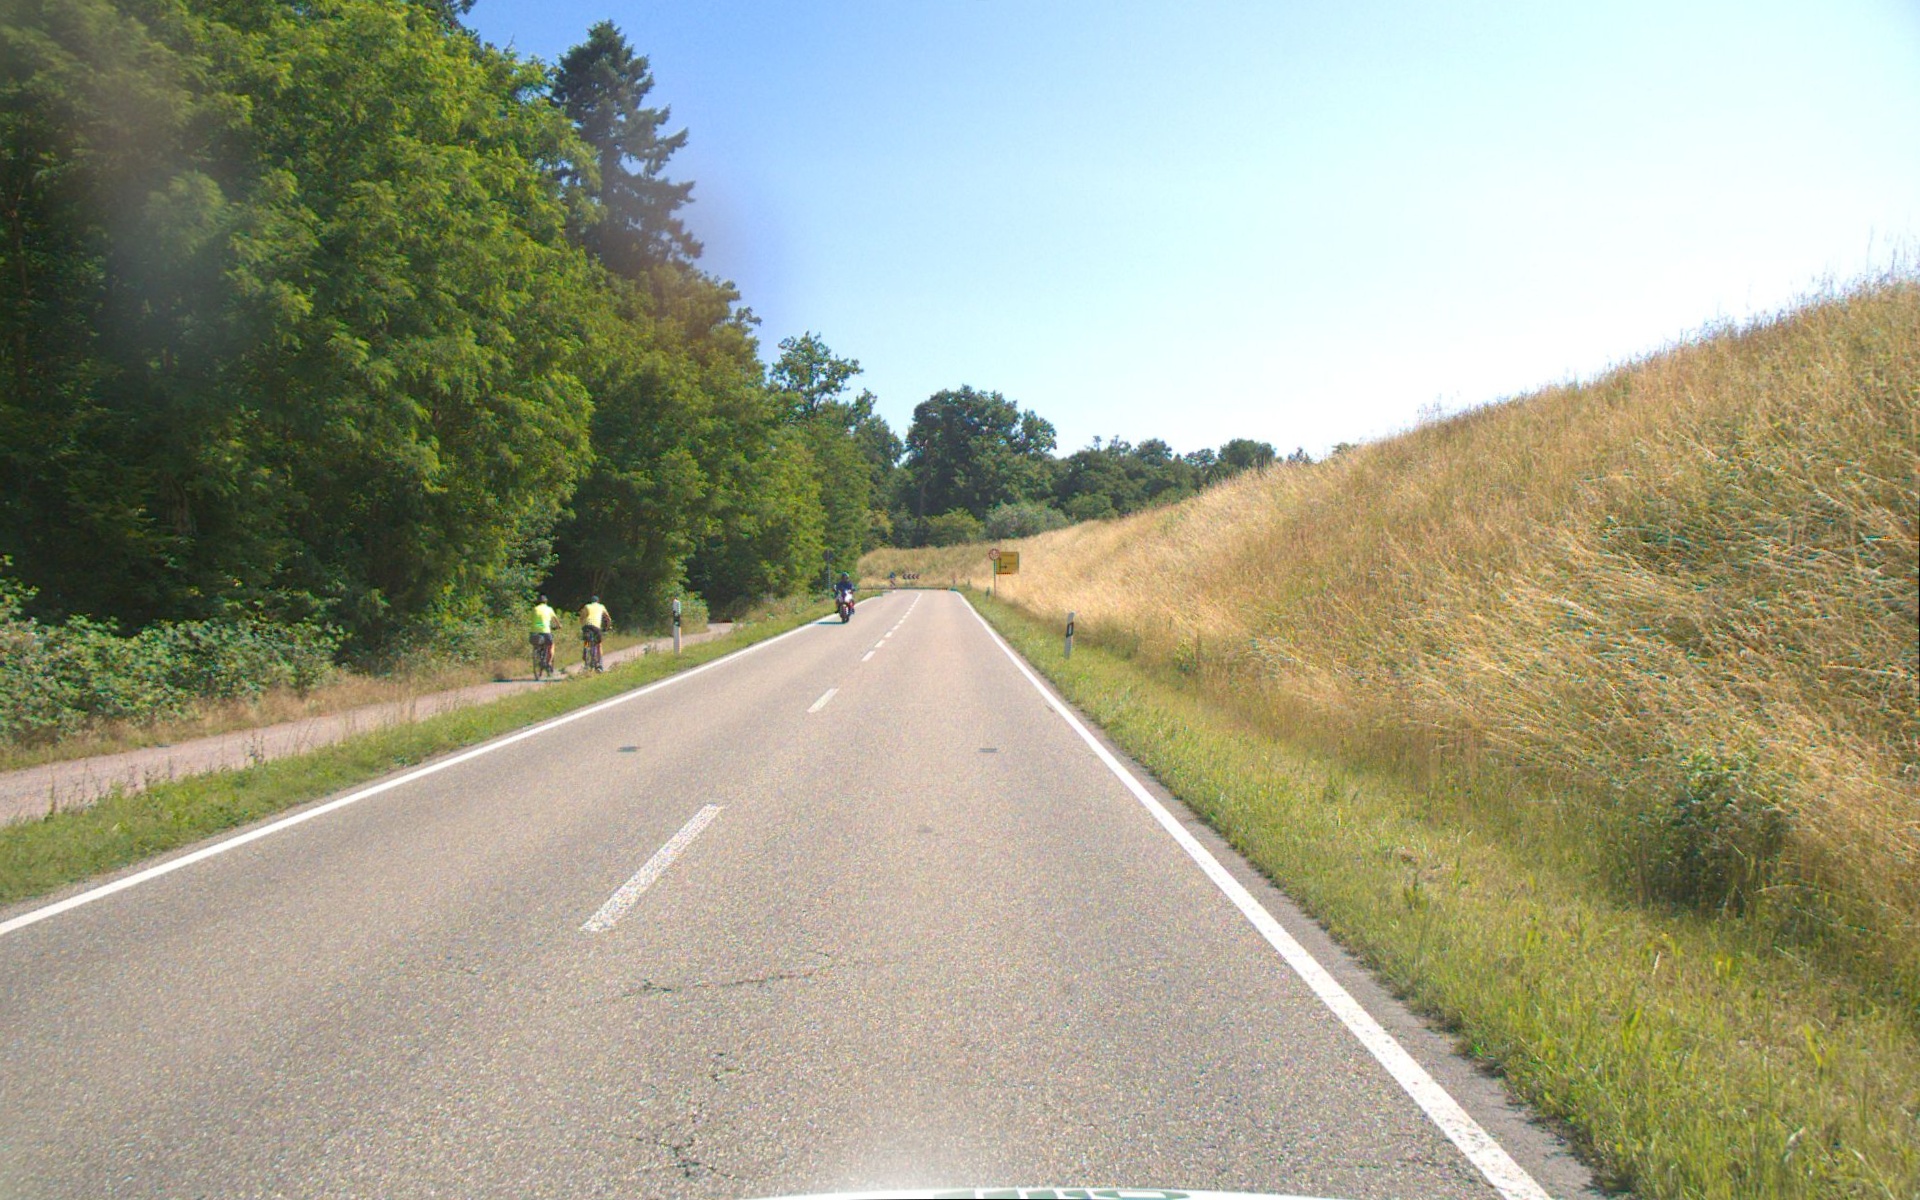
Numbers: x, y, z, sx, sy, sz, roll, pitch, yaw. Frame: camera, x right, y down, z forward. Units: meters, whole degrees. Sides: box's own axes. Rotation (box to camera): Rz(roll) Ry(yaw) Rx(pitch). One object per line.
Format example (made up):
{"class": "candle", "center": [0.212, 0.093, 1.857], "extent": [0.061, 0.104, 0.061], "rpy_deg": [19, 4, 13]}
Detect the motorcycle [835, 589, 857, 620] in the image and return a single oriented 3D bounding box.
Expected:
{"class": "motorcycle", "center": [-3.728, 0.146, 54.109], "extent": [0.626, 1.002, 2.006], "rpy_deg": [1, 0, -2]}

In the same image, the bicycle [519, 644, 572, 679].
{"class": "bicycle", "center": [-8.836, 1.302, 35.347], "extent": [0.606, 0.693, 2.136], "rpy_deg": [1, -1, -1]}

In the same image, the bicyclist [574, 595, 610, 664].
{"class": "bicyclist", "center": [-7.838, 0.624, 35.243], "extent": [0.593, 1.440, 0.702], "rpy_deg": [-1, 0, -1]}

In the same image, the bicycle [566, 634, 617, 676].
{"class": "bicycle", "center": [-7.825, 1.156, 35.201], "extent": [0.627, 0.802, 2.136], "rpy_deg": [-1, 1, -1]}

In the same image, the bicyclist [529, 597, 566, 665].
{"class": "bicyclist", "center": [-8.815, 0.665, 35.364], "extent": [0.593, 1.440, 0.702], "rpy_deg": [1, -2, -1]}

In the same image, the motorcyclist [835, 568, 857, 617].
{"class": "motorcyclist", "center": [-3.723, -0.231, 54.184], "extent": [0.646, 1.555, 0.813], "rpy_deg": [2, -1, -3]}
